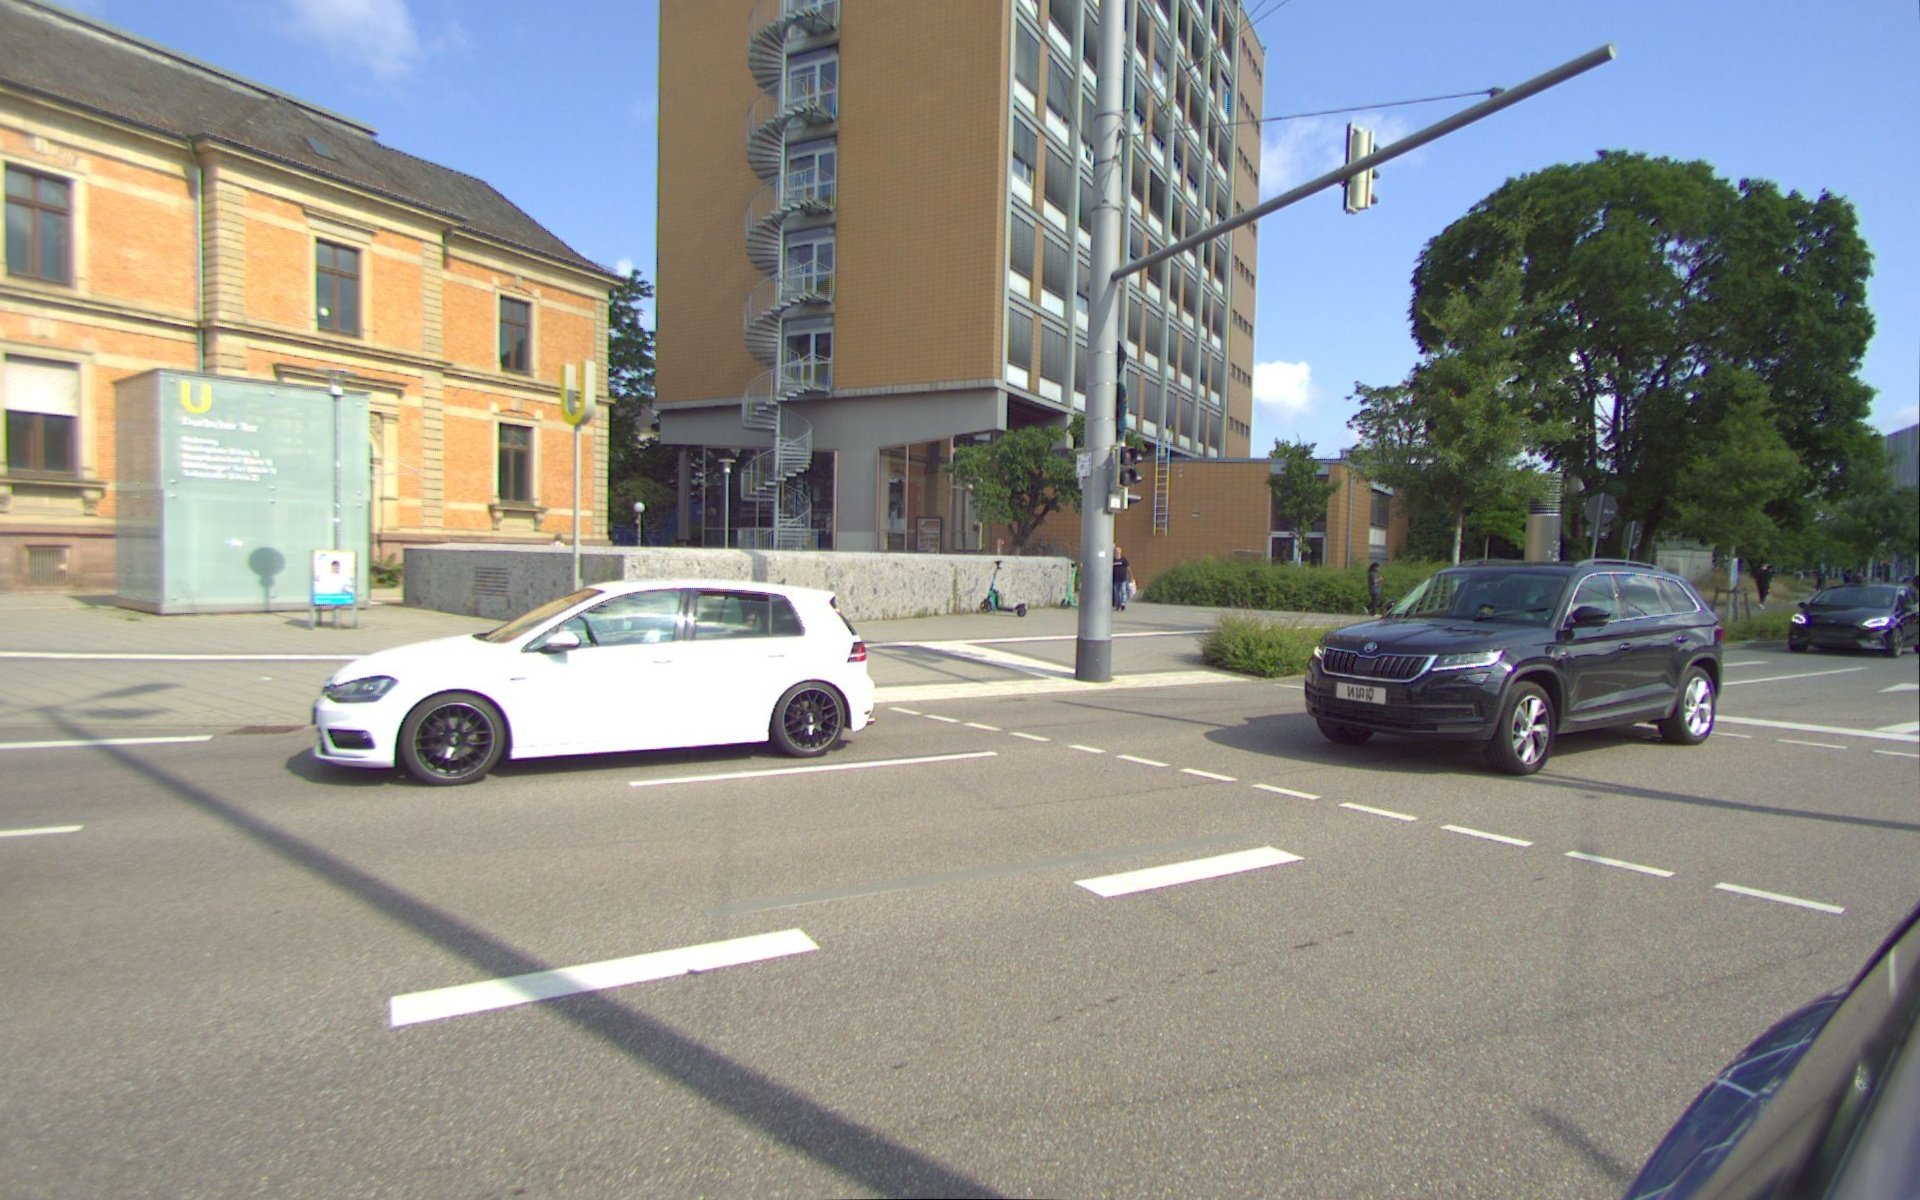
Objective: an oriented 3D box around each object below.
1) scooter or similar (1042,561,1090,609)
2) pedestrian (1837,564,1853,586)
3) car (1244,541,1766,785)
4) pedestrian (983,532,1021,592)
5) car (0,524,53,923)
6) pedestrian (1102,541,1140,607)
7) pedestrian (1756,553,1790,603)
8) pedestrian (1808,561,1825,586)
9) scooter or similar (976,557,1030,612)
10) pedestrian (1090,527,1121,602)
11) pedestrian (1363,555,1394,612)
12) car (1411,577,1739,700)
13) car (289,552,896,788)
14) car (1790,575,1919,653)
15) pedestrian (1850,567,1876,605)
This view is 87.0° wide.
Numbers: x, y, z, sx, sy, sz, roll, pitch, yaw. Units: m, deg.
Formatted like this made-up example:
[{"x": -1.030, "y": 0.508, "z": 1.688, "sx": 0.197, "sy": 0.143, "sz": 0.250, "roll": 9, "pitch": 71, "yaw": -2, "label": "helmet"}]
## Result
[{"x": 2.668, "y": -0.381, "z": 25.501, "sx": 1.167, "sy": 1.144, "sz": 0.402, "roll": 2, "pitch": 1, "yaw": 8, "label": "scooter or similar"}, {"x": 81.303, "y": -2.307, "z": 92.997, "sx": 0.984, "sy": 2.038, "sz": 1.113, "roll": 3, "pitch": 3, "yaw": 42, "label": "pedestrian"}, {"x": 4.934, "y": 0.397, "z": 9.028, "sx": 4.590, "sy": 1.689, "sz": 2.002, "roll": 0, "pitch": 2, "yaw": -30, "label": "car"}, {"x": 1.152, "y": -1.060, "z": 28.085, "sx": 0.921, "sy": 1.607, "sz": 0.765, "roll": 3, "pitch": 2, "yaw": 0, "label": "pedestrian"}, {"x": -5.413, "y": 0.456, "z": 2.716, "sx": 4.172, "sy": 1.547, "sz": 1.774, "roll": 1, "pitch": 2, "yaw": -33, "label": "car"}, {"x": 4.140, "y": -0.675, "z": 25.988, "sx": 0.763, "sy": 1.607, "sz": 0.761, "roll": 4, "pitch": 2, "yaw": 18, "label": "pedestrian"}, {"x": 31.372, "y": -0.861, "z": 39.074, "sx": 0.632, "sy": 1.894, "sz": 0.762, "roll": 1, "pitch": 3, "yaw": -31, "label": "pedestrian"}, {"x": 72.685, "y": -2.237, "z": 85.923, "sx": 0.984, "sy": 2.038, "sz": 1.113, "roll": 3, "pitch": 3, "yaw": 42, "label": "pedestrian"}, {"x": 0.971, "y": -0.352, "z": 23.008, "sx": 1.178, "sy": 1.211, "sz": 0.398, "roll": 2, "pitch": 1, "yaw": 34, "label": "scooter or similar"}, {"x": 4.075, "y": -1.006, "z": 28.354, "sx": 0.795, "sy": 2.038, "sz": 0.723, "roll": 2, "pitch": 2, "yaw": 11, "label": "pedestrian"}, {"x": 11.465, "y": -0.455, "z": 27.721, "sx": 0.568, "sy": 1.539, "sz": 0.481, "roll": 1, "pitch": 2, "yaw": -16, "label": "pedestrian"}, {"x": 8.748, "y": 0.470, "z": 14.356, "sx": 4.418, "sy": 1.416, "sz": 2.002, "roll": -2, "pitch": 0, "yaw": -29, "label": "car"}, {"x": -2.755, "y": 0.550, "z": 8.060, "sx": 4.147, "sy": 1.465, "sz": 1.685, "roll": 3, "pitch": -4, "yaw": -30, "label": "car"}, {"x": 19.022, "y": 0.270, "z": 21.131, "sx": 3.925, "sy": 1.472, "sz": 1.714, "roll": 1, "pitch": 1, "yaw": -37, "label": "car"}, {"x": 48.969, "y": -0.737, "z": 54.886, "sx": 0.983, "sy": 2.039, "sz": 1.113, "roll": -1, "pitch": -1, "yaw": 42, "label": "pedestrian"}]
